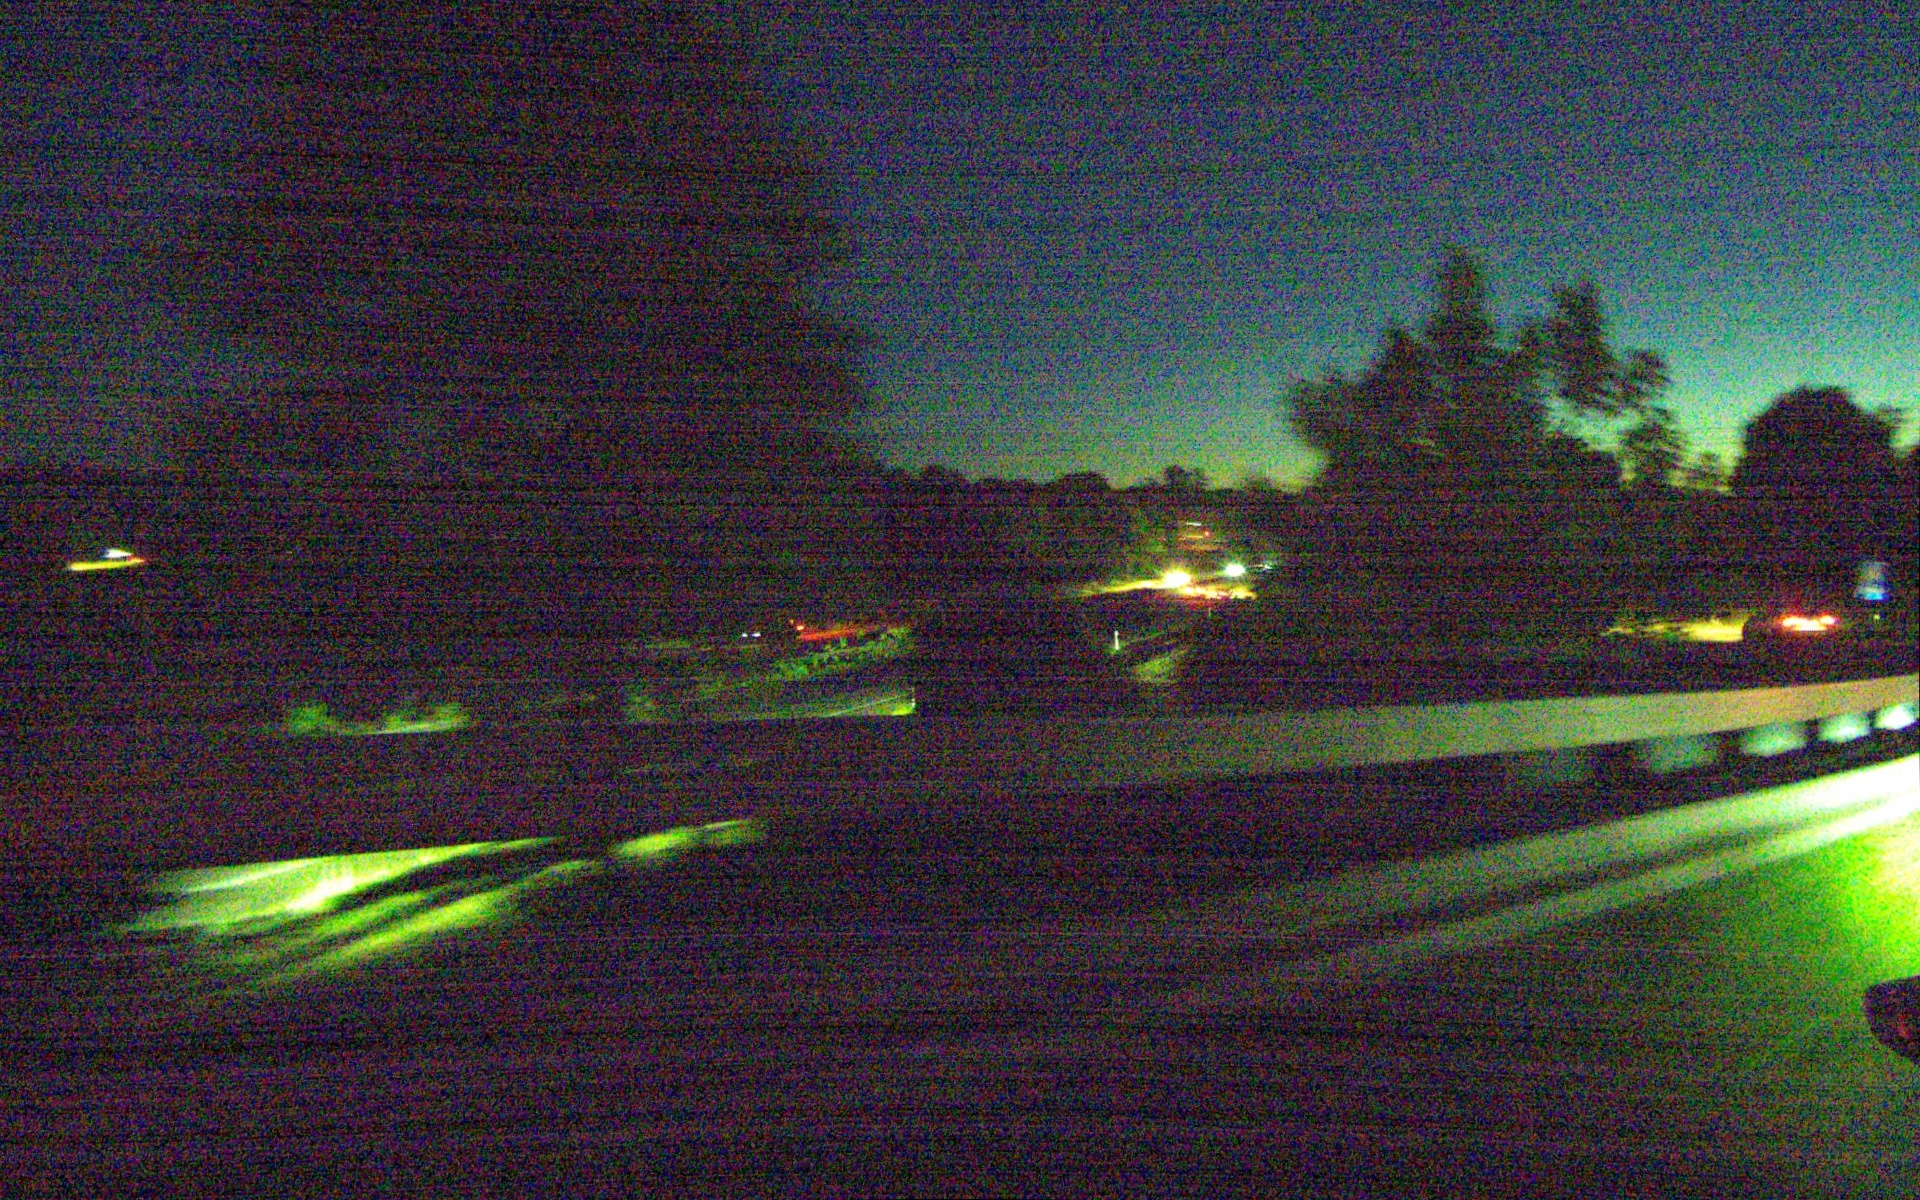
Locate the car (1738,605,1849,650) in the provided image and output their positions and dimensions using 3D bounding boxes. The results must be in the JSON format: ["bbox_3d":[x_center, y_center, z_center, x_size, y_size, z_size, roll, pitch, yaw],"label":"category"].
[{"bbox_3d":[34.985,1.108,42.301,1.919,1.558,4.242,-4,1,15],"label":"car"}]
